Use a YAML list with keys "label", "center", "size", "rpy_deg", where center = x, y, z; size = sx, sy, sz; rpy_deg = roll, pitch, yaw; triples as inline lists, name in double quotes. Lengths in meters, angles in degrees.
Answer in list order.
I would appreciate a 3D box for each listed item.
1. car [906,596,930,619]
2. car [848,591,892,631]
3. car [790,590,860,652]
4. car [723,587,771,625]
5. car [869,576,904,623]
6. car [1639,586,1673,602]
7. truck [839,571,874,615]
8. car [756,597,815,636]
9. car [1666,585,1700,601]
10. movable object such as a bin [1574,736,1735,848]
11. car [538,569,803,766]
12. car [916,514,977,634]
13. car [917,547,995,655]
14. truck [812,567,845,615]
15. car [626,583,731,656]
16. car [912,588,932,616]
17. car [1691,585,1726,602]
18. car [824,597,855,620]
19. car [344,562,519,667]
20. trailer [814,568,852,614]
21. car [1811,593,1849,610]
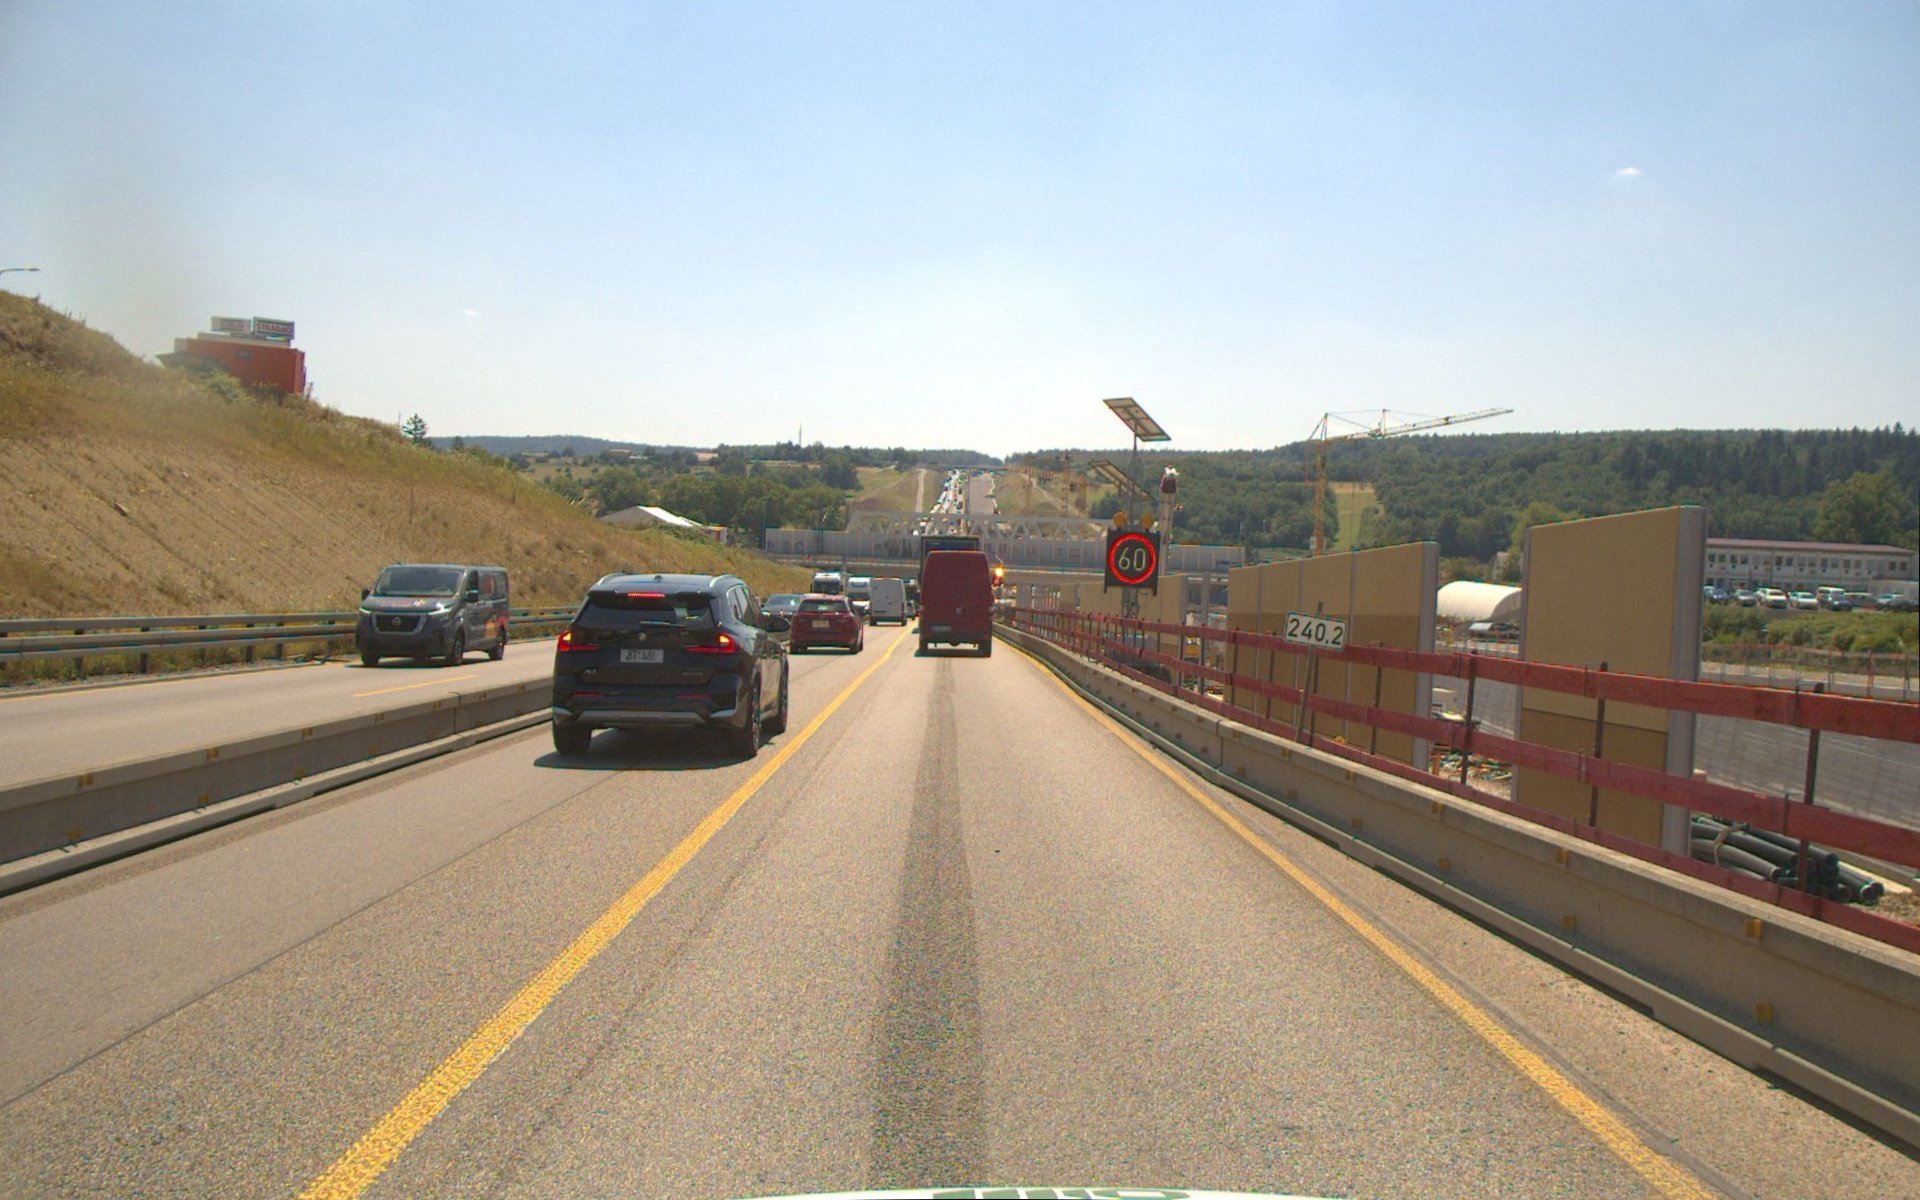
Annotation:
- label: "car"
  center: [-3.136, 0.524, 124.934]
  size: [1.740, 1.699, 4.028]
  rpy_deg: [0, 0, -1]
- label: "car"
  center: [-3.932, 0.460, 73.079]
  size: [1.802, 1.683, 4.164]
  rpy_deg: [0, 0, -1]
- label: "car"
  center: [-3.496, 0.517, 43.232]
  size: [1.741, 1.544, 4.203]
  rpy_deg: [0, 0, -4]
- label: "car"
  center: [-10.717, 0.290, 83.510]
  size: [1.793, 1.822, 5.024]
  rpy_deg: [0, 0, -1]
- label: "car"
  center: [-3.997, -0.025, 90.679]
  size: [1.740, 2.484, 4.205]
  rpy_deg: [0, 0, -1]
- label: "car"
  center: [68.739, -0.575, 163.347]
  size: [1.646, 1.544, 4.075]
  rpy_deg: [1, 0, 1]
- label: "truck"
  center: [-8.484, -0.567, 136.713]
  size: [2.486, 3.433, 7.036]
  rpy_deg: [1, 0, -1]
- label: "car"
  center: [-7.172, 0.661, 68.338]
  size: [1.915, 1.525, 5.089]
  rpy_deg: [1, 0, -1]
- label: "car"
  center: [71.272, -0.663, 163.046]
  size: [1.646, 1.544, 4.075]
  rpy_deg: [1, 0, 1]
- label: "movable object such as a bin"
  center: [19.628, 5.388, 46.999]
  size: [2.555, 2.533, 4.453]
  rpy_deg: [2, 0, -1]
- label: "car"
  center: [-2.659, 0.567, 16.209]
  size: [1.841, 1.646, 4.498]
  rpy_deg: [0, 0, -1]
- label: "car"
  center: [-0.628, -1.132, 76.244]
  size: [2.567, 5.120, 10.395]
  rpy_deg: [0, 0, -1]
- label: "car"
  center: [-0.131, 0.016, 44.387]
  size: [1.948, 2.737, 4.623]
  rpy_deg: [0, 0, -1]
- label: "truck"
  center: [-11.653, -0.821, 146.874]
  size: [2.643, 4.121, 3.954]
  rpy_deg: [1, 0, -1]
- label: "car"
  center: [-6.930, 0.434, 41.183]
  size: [1.802, 1.683, 5.370]
  rpy_deg: [0, 0, -1]
- label: "car"
  center: [-3.355, 0.179, 147.124]
  size: [1.740, 2.370, 4.205]
  rpy_deg: [0, 0, -1]
- label: "car"
  center: [73.776, -0.625, 162.973]
  size: [1.646, 1.544, 4.075]
  rpy_deg: [1, 0, 1]
- label: "car"
  center: [-8.019, 0.538, 110.140]
  size: [1.760, 1.452, 4.948]
  rpy_deg: [1, 0, -1]
- label: "car"
  center: [-10.529, 0.253, 33.353]
  size: [1.997, 1.960, 5.120]
  rpy_deg: [0, 0, -2]
- label: "trailer"
  center: [-11.800, -0.811, 154.653]
  size: [2.643, 4.095, 13.699]
  rpy_deg: [1, 0, -1]
- label: "car"
  center: [84.066, 0.141, 159.873]
  size: [1.646, 1.544, 4.075]
  rpy_deg: [1, 0, 1]
